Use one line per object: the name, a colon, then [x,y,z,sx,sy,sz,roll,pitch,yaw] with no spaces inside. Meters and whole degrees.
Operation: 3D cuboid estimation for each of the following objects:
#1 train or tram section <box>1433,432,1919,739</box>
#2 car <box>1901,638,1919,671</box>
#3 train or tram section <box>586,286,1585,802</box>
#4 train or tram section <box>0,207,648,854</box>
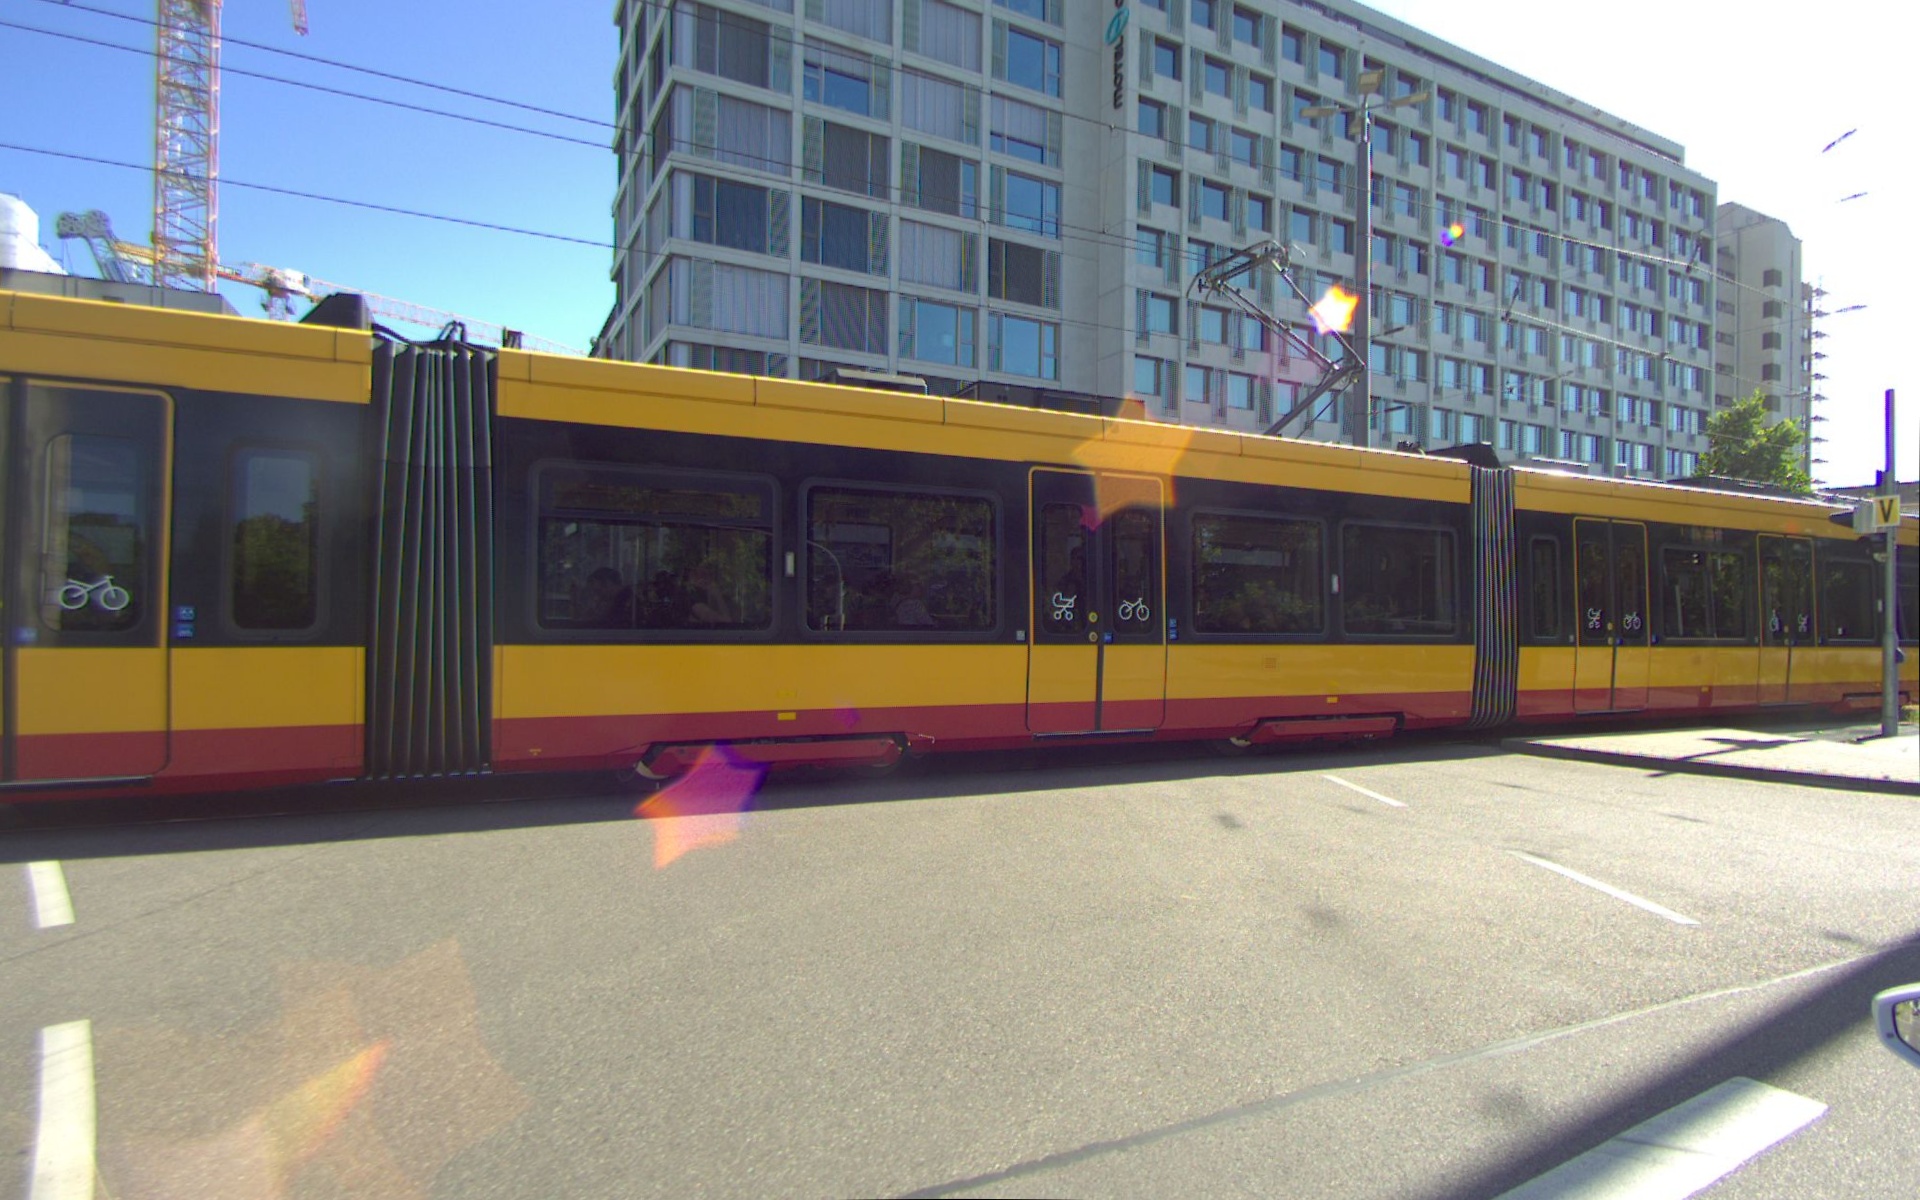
train or tram section: [12.208,-0.026,15.604,11.529,3.718,1.987,2,0,-26]
car: [48.412,2.731,49.296,3.948,1.572,1.986,2,0,-27]
train or tram section: [2.108,-0.255,10.606,11.167,3.718,1.987,2,0,-26]
train or tram section: [-9.028,-0.499,5.227,13.960,3.718,1.987,2,0,-25]
